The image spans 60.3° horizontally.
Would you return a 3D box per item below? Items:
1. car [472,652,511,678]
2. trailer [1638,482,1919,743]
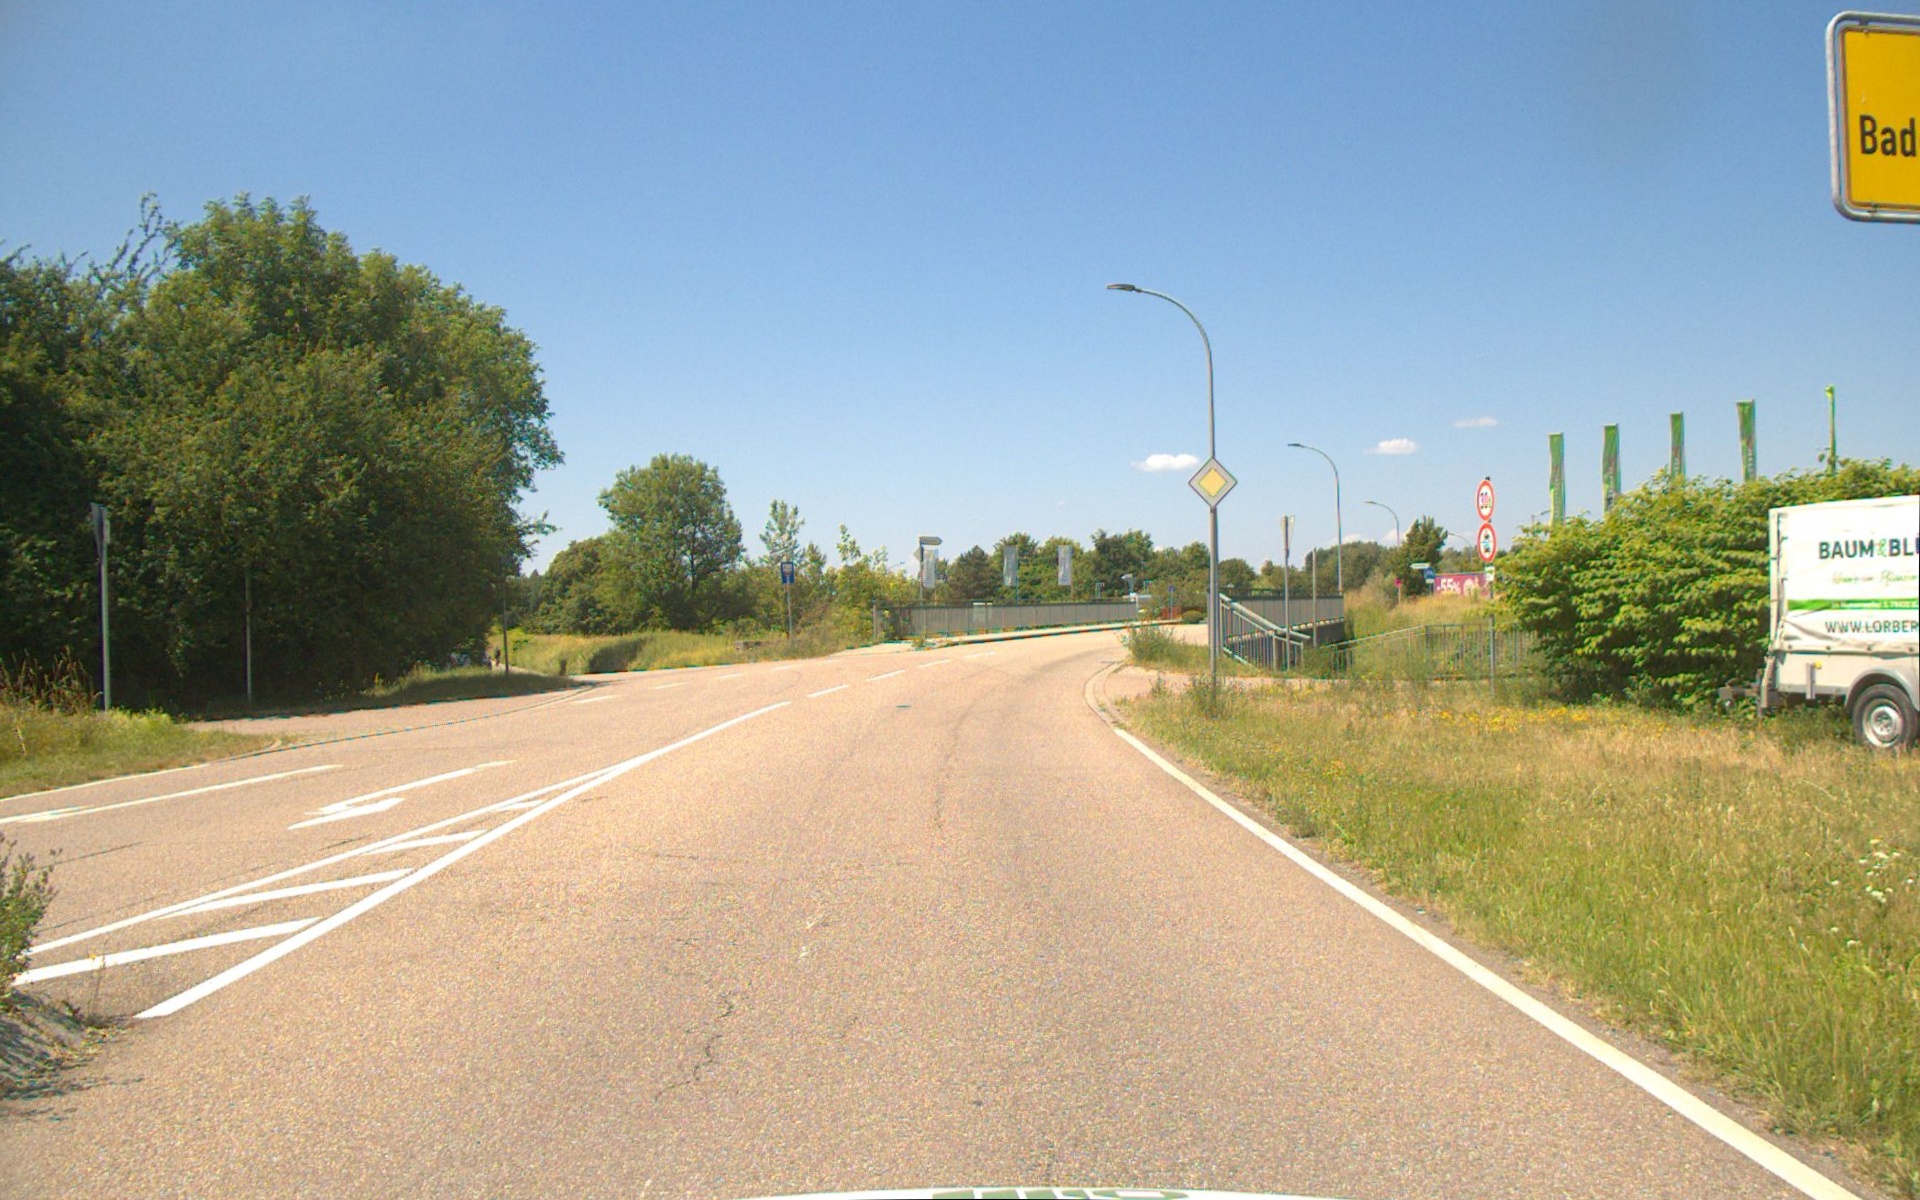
[{"bbox_3d":[-32.337,4.469,114.145,1.968,1.624,3.969,-2,-1,-25],"label":"car"},{"bbox_3d":[8.244,0.106,14.735,1.820,2.114,3.942,-1,-1,-22],"label":"trailer"}]
